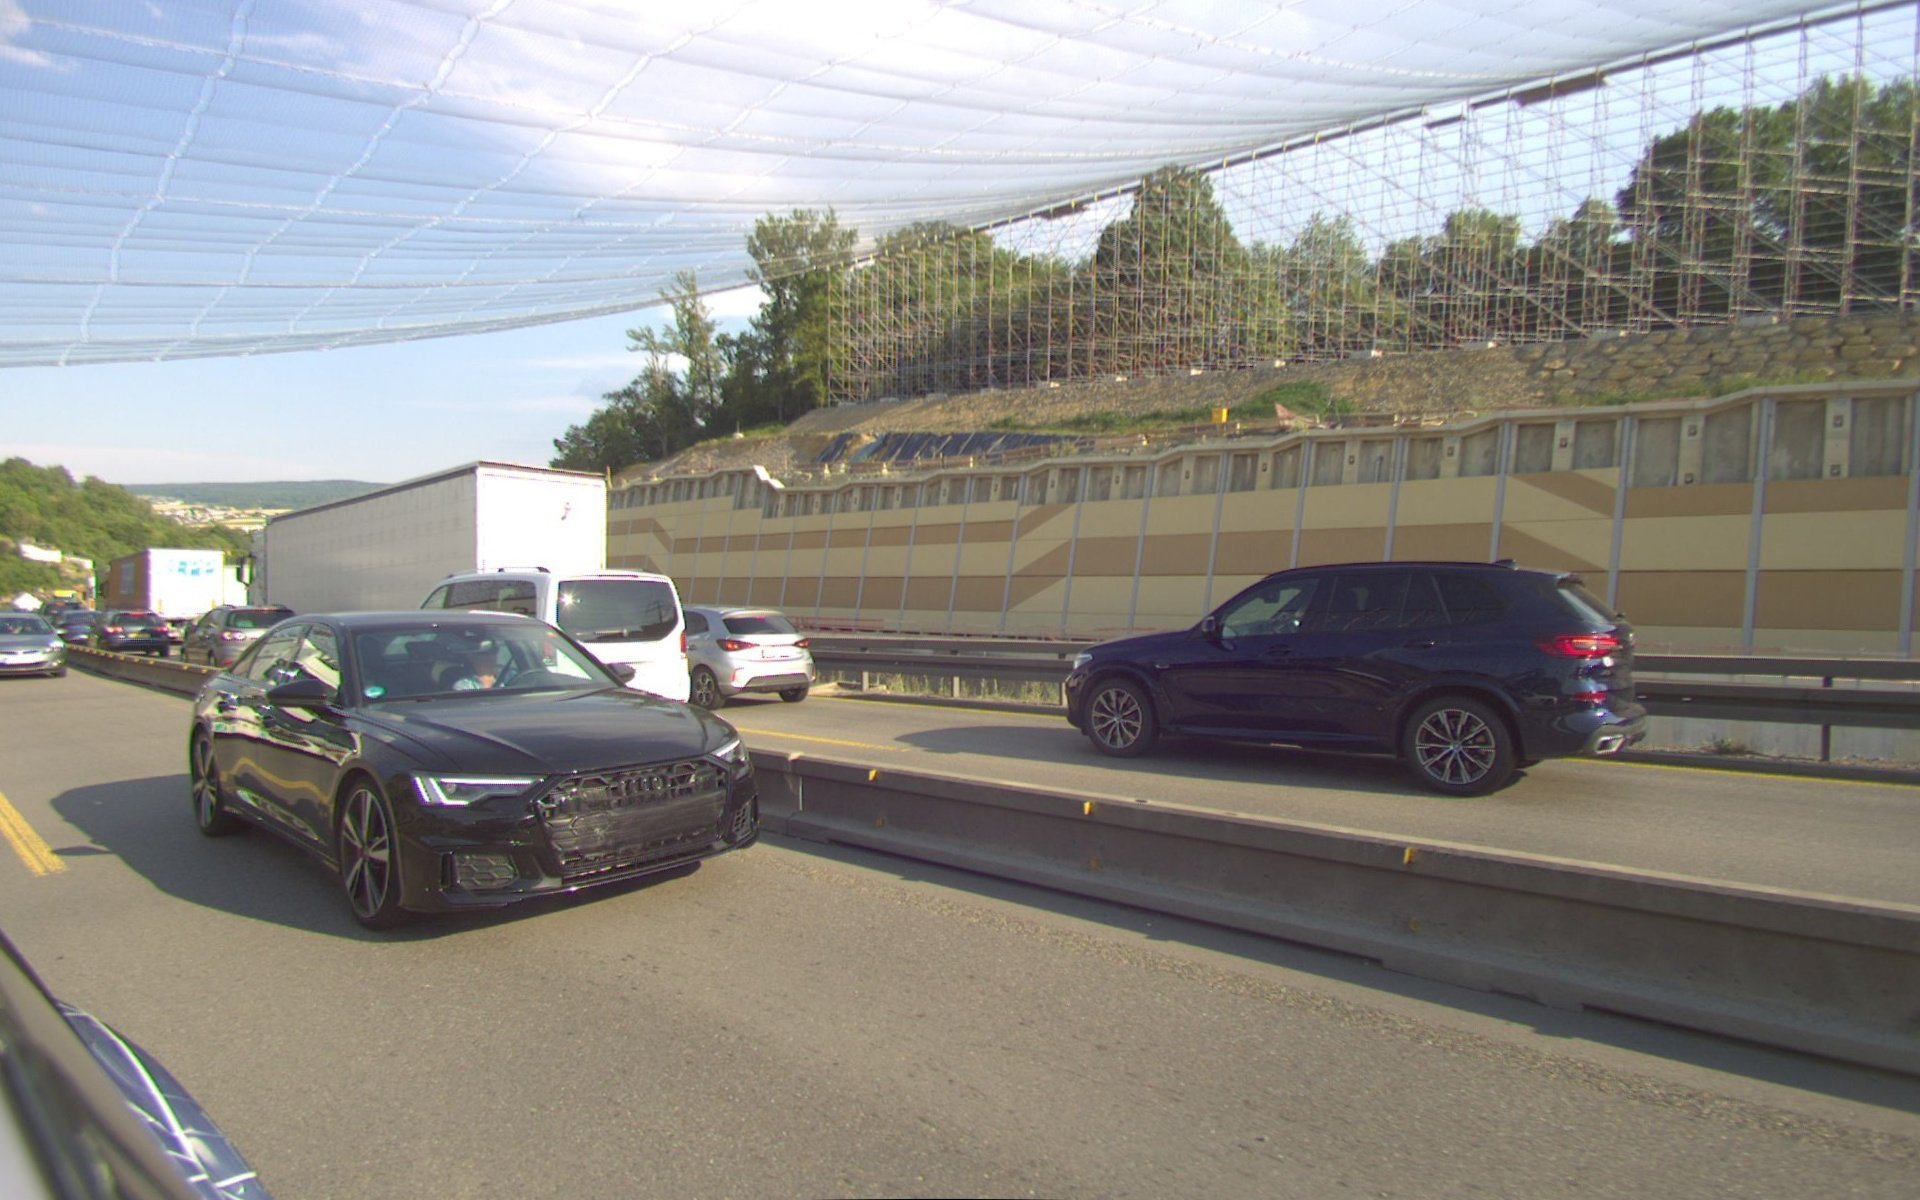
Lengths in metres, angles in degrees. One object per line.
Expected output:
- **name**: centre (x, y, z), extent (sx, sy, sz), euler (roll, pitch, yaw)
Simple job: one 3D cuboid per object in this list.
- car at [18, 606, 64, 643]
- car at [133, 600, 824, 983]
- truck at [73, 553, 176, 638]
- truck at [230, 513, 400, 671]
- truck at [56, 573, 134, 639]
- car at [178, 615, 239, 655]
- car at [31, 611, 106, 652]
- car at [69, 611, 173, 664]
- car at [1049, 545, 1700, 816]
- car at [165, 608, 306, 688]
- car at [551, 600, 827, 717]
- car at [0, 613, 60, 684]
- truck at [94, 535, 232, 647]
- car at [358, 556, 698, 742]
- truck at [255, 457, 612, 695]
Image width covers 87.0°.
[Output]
- **car**: centre (-47.463, 1.240, 52.245), extent (1.702, 1.841, 3.296), euler (-1, 0, -44)
- **car**: centre (-3.220, 0.759, 6.140), extent (4.957, 1.409, 1.915), euler (-1, 0, 40)
- **truck**: centre (-51.470, -0.183, 62.039), extent (17.413, 4.593, 2.953), euler (-1, 0, 44)
- **truck**: centre (-18.102, -0.186, 28.260), extent (6.047, 3.937, 2.489), euler (-1, 0, 42)
- **truck**: centre (-66.270, 0.453, 77.308), extent (17.413, 4.593, 2.953), euler (-1, 0, 44)
- **car**: centre (-28.562, 1.281, 38.436), extent (3.294, 1.425, 1.352), euler (-1, 0, 44)
- **car**: centre (-36.279, 1.232, 41.127), extent (4.980, 1.530, 1.913), euler (-1, 0, 44)
- **car**: centre (-27.139, 1.151, 32.683), extent (4.644, 1.546, 1.914), euler (-1, 0, 42)
- **car**: centre (3.312, 0.529, 8.808), extent (4.934, 1.740, 1.805), euler (-1, 0, 41)
- **car**: centre (-15.893, 0.985, 22.126), extent (4.216, 1.563, 1.565), euler (-1, 0, 41)
- **car**: centre (-4.387, 0.813, 15.913), extent (4.907, 1.552, 1.773), euler (-1, 0, 41)
- **car**: centre (-21.636, 1.044, 22.778), extent (4.354, 1.484, 1.736), euler (-1, 0, 44)
- **truck**: centre (-38.556, -0.309, 48.512), extent (17.413, 4.593, 2.953), euler (-1, 0, 44)
- **car**: centre (-5.597, 0.515, 12.698), extent (5.279, 1.883, 1.789), euler (-1, 0, 41)
- **truck**: centre (-13.087, -0.381, 23.886), extent (14.164, 4.259, 2.692), euler (-1, 0, 42)
